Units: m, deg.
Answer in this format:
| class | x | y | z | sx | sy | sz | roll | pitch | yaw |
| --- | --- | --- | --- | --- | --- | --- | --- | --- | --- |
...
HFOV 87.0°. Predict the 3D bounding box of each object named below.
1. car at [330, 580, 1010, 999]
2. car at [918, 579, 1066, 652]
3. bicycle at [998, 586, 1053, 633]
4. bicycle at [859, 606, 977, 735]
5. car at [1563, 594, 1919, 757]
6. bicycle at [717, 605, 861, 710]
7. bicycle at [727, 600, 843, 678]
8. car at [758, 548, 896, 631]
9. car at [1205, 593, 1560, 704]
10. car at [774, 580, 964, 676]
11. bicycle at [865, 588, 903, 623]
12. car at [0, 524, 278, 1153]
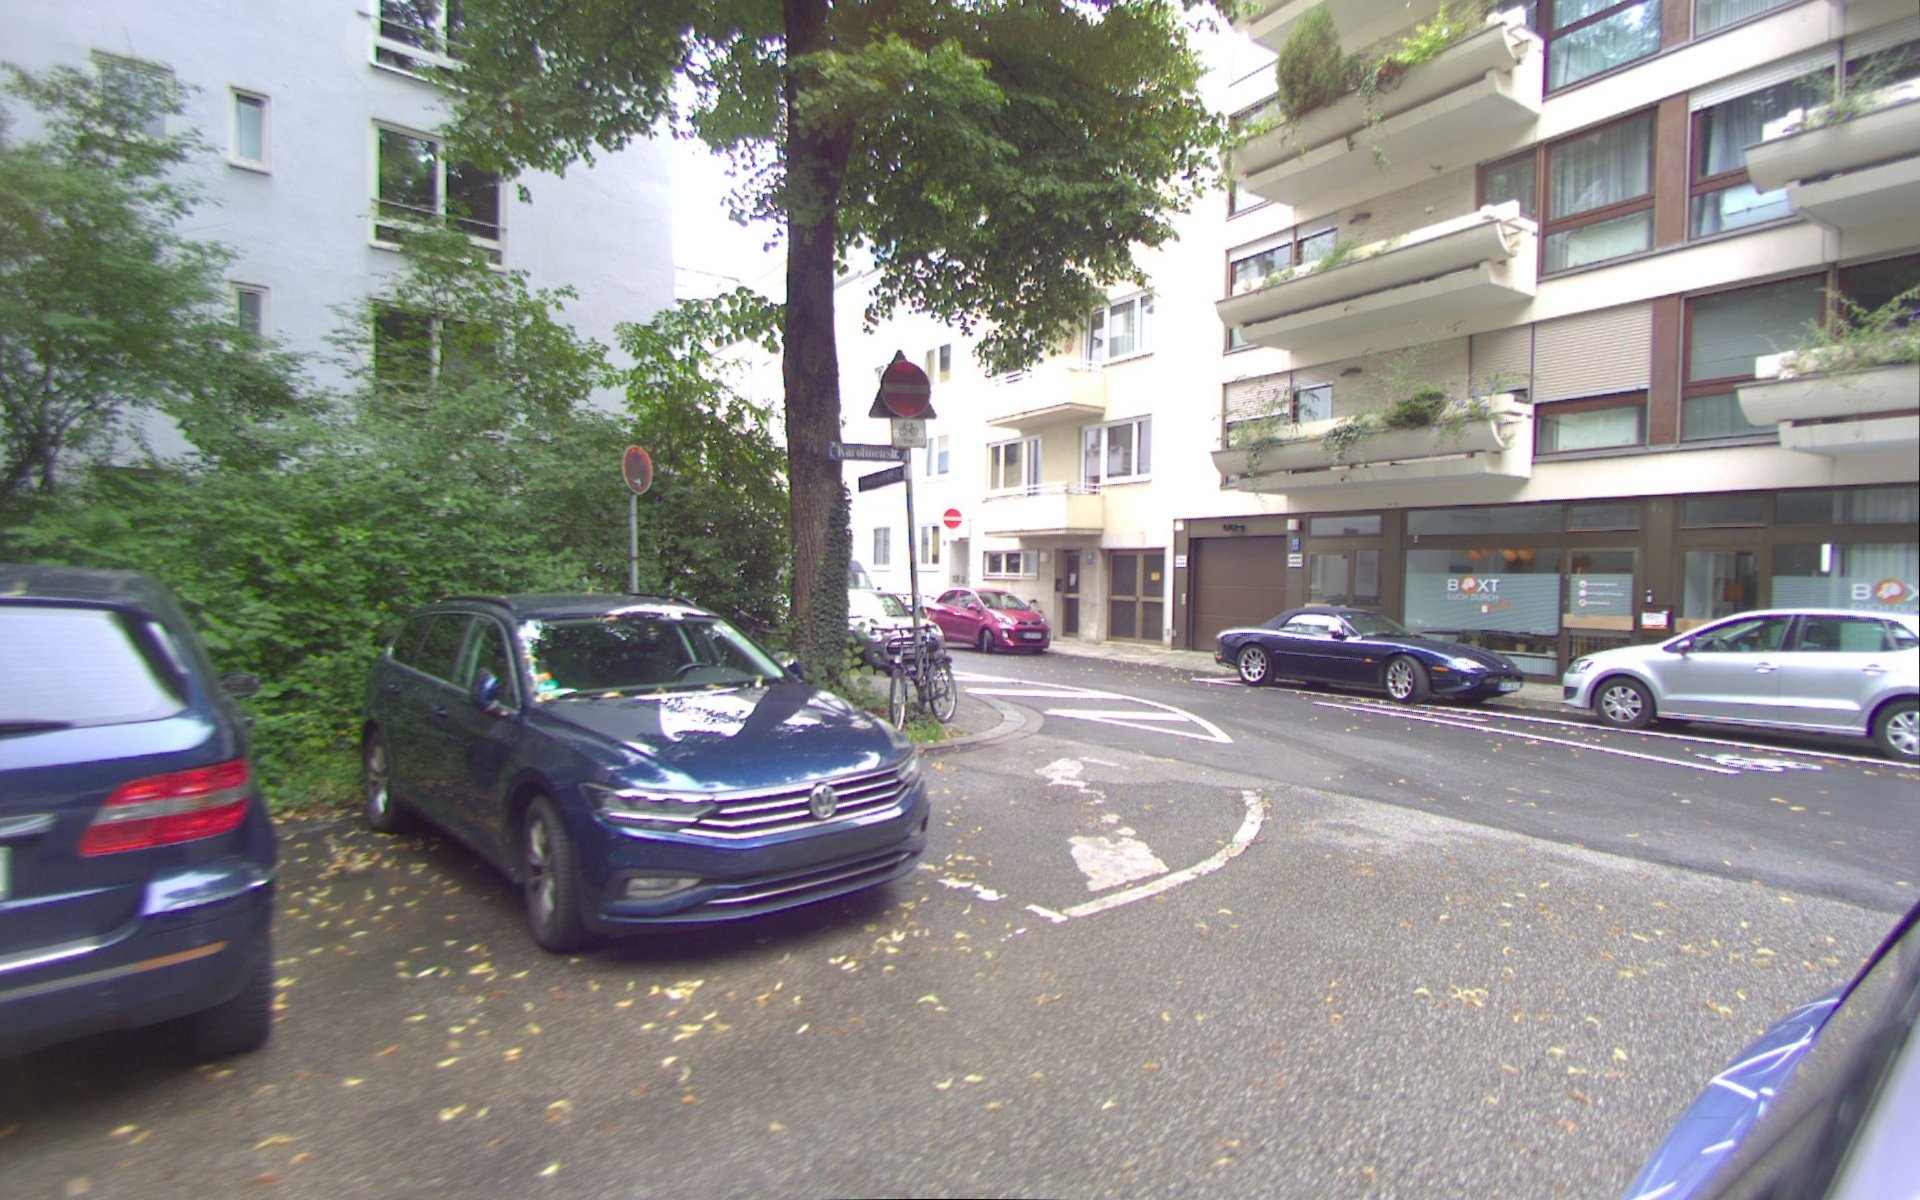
| class | x | y | z | sx | sy | sz | roll | pitch | yaw |
| --- | --- | --- | --- | --- | --- | --- | --- | --- | --- |
| car | -2.060 | 0.614 | 5.918 | 1.927 | 1.394 | 4.724 | -1 | 2 | -43 |
| car | 0.673 | 0.308 | 23.902 | 1.594 | 1.515 | 3.710 | 1 | 1 | -34 |
| bicycle | 1.699 | 0.226 | 26.515 | 0.460 | 1.163 | 1.761 | 0 | 1 | -33 |
| bicycle | -0.393 | 0.667 | 10.452 | 0.548 | 1.151 | 1.761 | 1 | 1 | 21 |
| car | 8.823 | 0.718 | 10.759 | 1.535 | 1.439 | 3.834 | 2 | 0 | -34 |
| bicycle | -1.930 | 0.612 | 11.572 | 0.603 | 1.069 | 1.611 | 1 | 2 | 41 |
| bicycle | -2.529 | 0.550 | 14.662 | 1.608 | 1.069 | 0.450 | 0 | 1 | 9 |
| car | -4.207 | -0.370 | 31.100 | 1.985 | 2.307 | 5.394 | 2 | 1 | -33 |
| car | 5.994 | 0.616 | 14.962 | 1.768 | 1.294 | 4.619 | 2 | 0 | -34 |
| car | -1.745 | 0.418 | 18.114 | 1.714 | 1.459 | 4.003 | 1 | 1 | -32 |
| bicycle | -2.559 | 0.173 | 33.837 | 0.455 | 1.111 | 1.872 | 0 | 2 | -32 |
| car | -3.854 | 0.543 | 3.904 | 1.724 | 1.575 | 3.981 | -1 | 2 | -39 |
